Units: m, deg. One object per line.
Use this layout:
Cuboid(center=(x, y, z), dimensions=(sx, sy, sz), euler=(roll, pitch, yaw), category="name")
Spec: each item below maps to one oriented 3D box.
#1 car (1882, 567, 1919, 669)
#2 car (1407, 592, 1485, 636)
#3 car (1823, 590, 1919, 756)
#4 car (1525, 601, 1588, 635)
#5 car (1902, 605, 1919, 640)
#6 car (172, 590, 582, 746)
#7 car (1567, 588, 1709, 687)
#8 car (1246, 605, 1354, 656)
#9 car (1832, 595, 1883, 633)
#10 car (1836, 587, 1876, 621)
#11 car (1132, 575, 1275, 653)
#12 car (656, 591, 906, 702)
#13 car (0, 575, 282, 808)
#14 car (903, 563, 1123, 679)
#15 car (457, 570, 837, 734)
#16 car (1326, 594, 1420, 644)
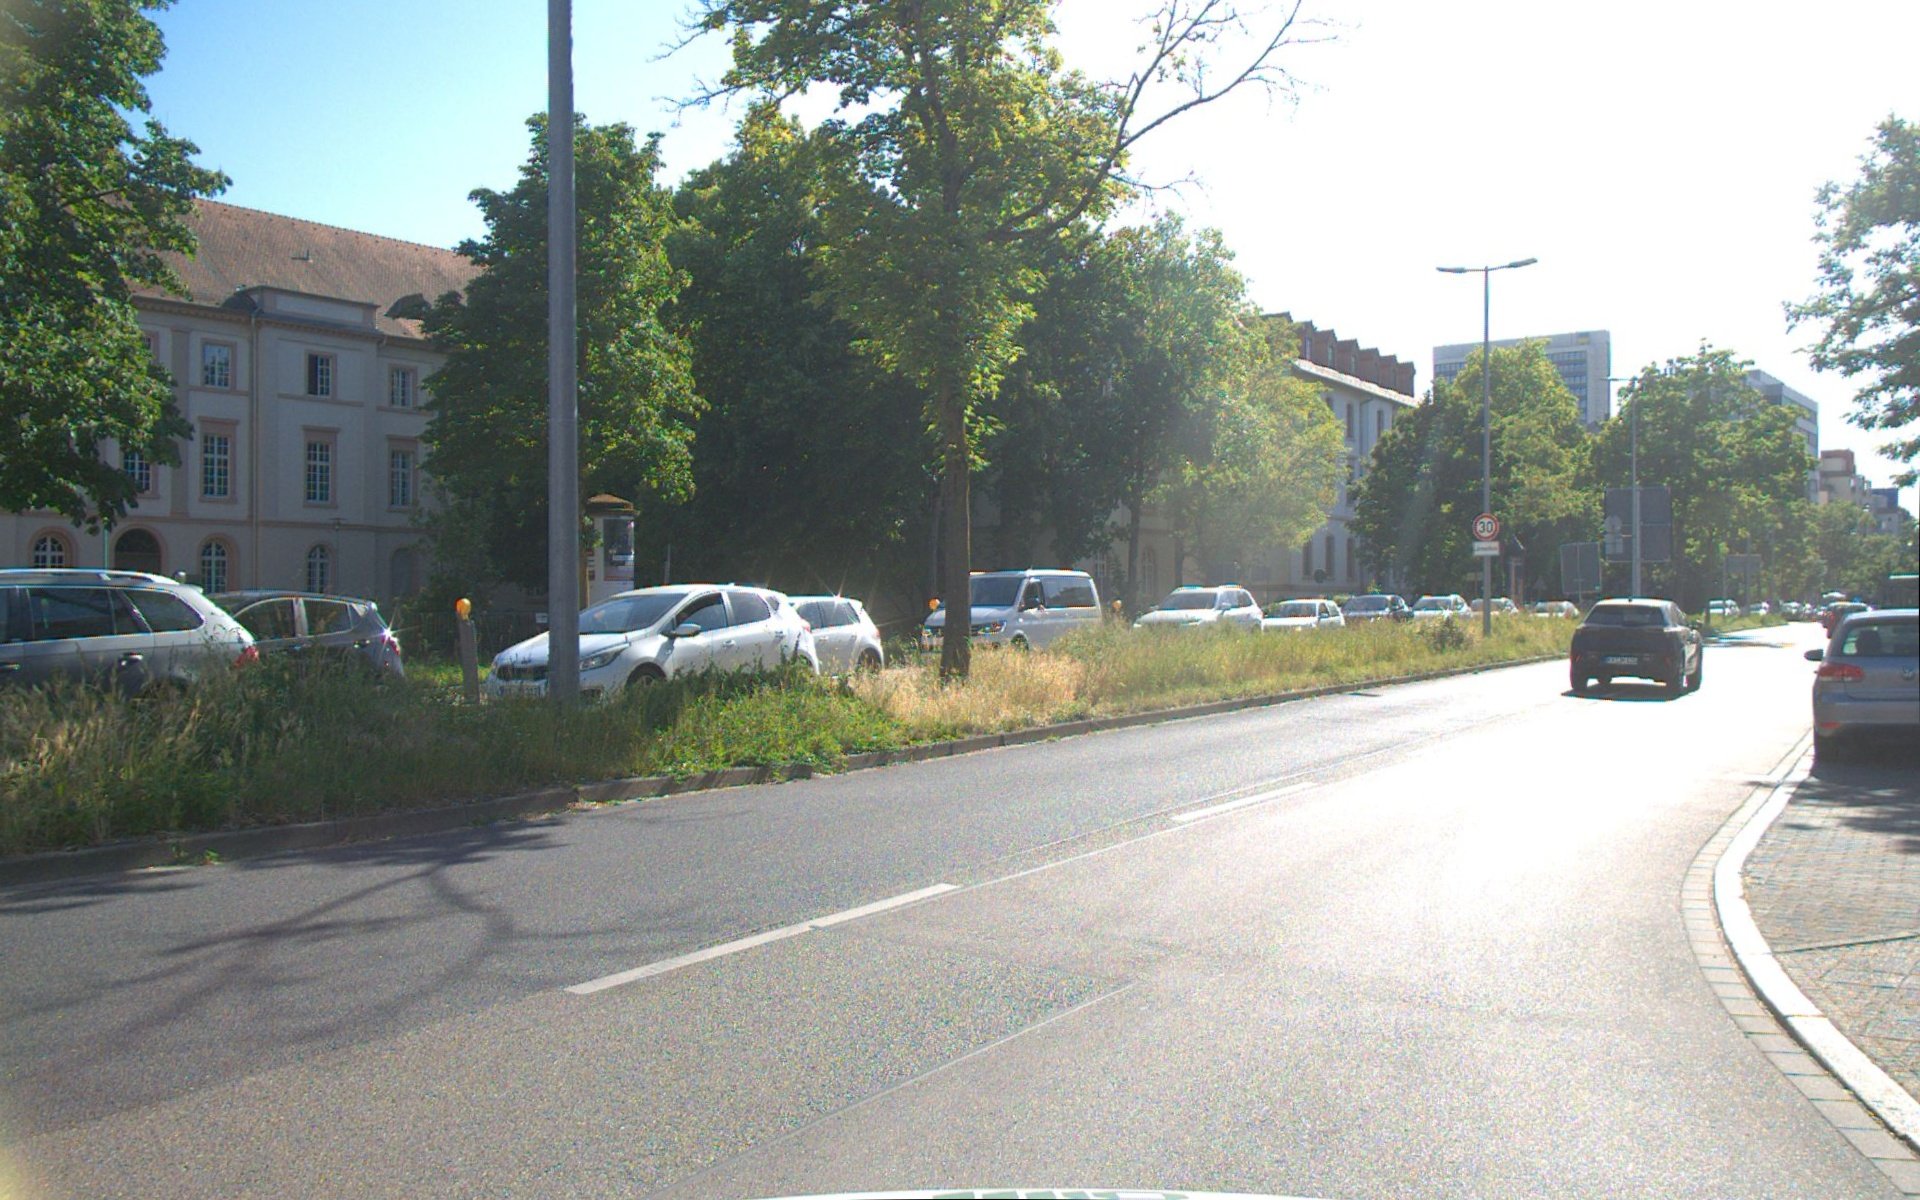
Cuboid(center=(20.689, 0.379, 35.272), dimensions=(1.629, 2.049, 4.766), euler=(-2, -1, 31), category="car")
Cuboid(center=(17.622, 0.494, 59.842), dimensions=(1.762, 1.545, 4.250), euler=(0, 0, 30), category="car")
Cuboid(center=(10.181, 0.687, 17.533), dimensions=(1.608, 1.473, 4.147), euler=(-1, 1, 31), category="car")
Cuboid(center=(27.434, 0.810, 75.971), dimensions=(1.805, 1.545, 4.654), euler=(0, 0, 32), category="car")
Cuboid(center=(36.131, 0.789, 61.651), dimensions=(1.636, 1.203, 3.894), euler=(-4, -2, 29), category="car")
Cuboid(center=(-6.515, 0.705, 18.992), dimensions=(1.762, 1.545, 4.338), euler=(1, 0, 30), category="car")
Cuboid(center=(11.822, 0.597, 28.704), dimensions=(1.859, 1.545, 3.994), euler=(2, 1, 28), category="car")
Cuboid(center=(9.649, 0.823, 46.659), dimensions=(1.762, 1.375, 4.250), euler=(0, 0, 30), category="car")
Cuboid(center=(38.056, 0.573, 70.110), dimensions=(1.759, 1.547, 3.841), euler=(1, 0, 31), category="car")
Cuboid(center=(51.690, 0.246, 95.388), dimensions=(1.924, 1.915, 3.993), euler=(0, 0, 29), category="car")
Cuboid(center=(6.020, 0.322, 40.371), dimensions=(1.762, 1.774, 5.022), euler=(0, 0, 30), category="car")
Cuboid(center=(-2.633, 0.649, 25.296), dimensions=(1.762, 1.545, 4.072), euler=(0, 0, 30), category="car")
Cuboid(center=(-7.142, 0.598, 11.474), dimensions=(1.762, 1.545, 4.355), euler=(1, 1, 30), category="car")
Cuboid(center=(1.132, 0.378, 32.086), dimensions=(2.191, 2.063, 5.008), euler=(0, 0, 30), category="car")
Cuboid(center=(-3.227, 0.492, 17.891), dimensions=(1.762, 1.545, 4.197), euler=(0, 0, 30), category="car")
Cuboid(center=(13.232, 0.585, 52.826), dimensions=(1.762, 1.545, 4.436), euler=(0, 0, 30), category="car")
